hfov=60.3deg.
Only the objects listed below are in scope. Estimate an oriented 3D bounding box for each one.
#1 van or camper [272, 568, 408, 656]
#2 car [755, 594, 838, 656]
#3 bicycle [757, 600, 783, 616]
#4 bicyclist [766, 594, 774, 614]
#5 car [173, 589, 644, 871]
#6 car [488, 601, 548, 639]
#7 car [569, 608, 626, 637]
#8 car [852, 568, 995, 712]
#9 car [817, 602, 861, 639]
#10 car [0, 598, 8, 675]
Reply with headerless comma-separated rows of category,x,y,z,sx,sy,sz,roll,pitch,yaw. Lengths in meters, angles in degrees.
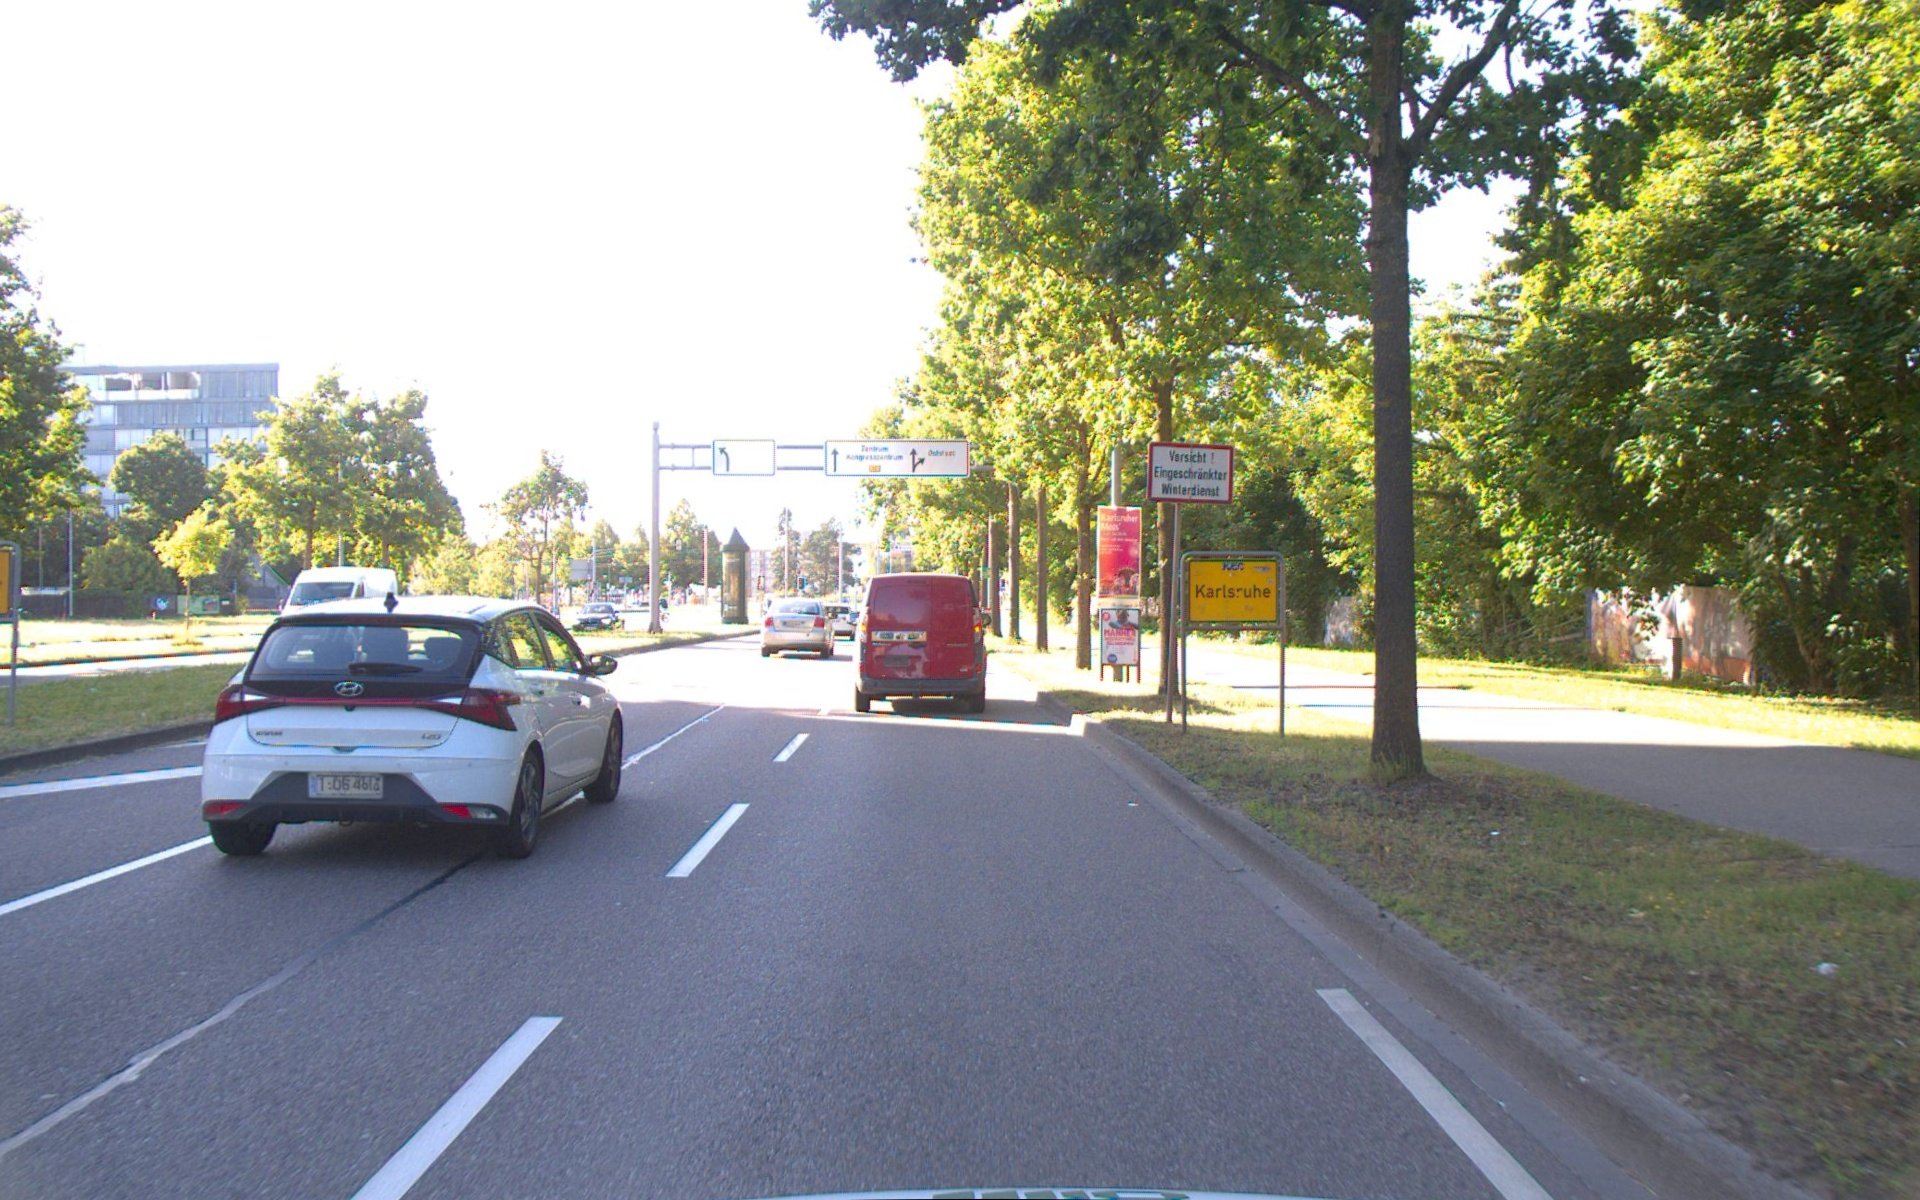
van or camper,-18.355,0.327,49.277,1.954,2.410,5.990,-2,0,-2
car,-4.166,0.599,42.577,1.804,1.482,4.161,1,0,-2
bicycle,-14.290,0.604,124.363,1.919,1.186,0.517,0,0,-4
bicyclist,-14.306,0.280,124.363,0.591,1.494,0.517,0,0,-3
car,-3.234,0.661,10.582,1.742,1.433,4.073,1,0,-2
car,-18.256,0.791,68.442,1.655,1.502,4.046,0,0,-4
car,-15.538,0.949,71.135,1.792,1.131,4.171,0,0,-4
car,-0.536,0.502,22.872,1.770,1.790,4.004,1,0,-2
car,-4.743,0.782,65.184,1.628,1.422,3.557,0,0,-2
car,-19.989,0.749,31.550,1.520,1.534,4.024,0,0,-3
